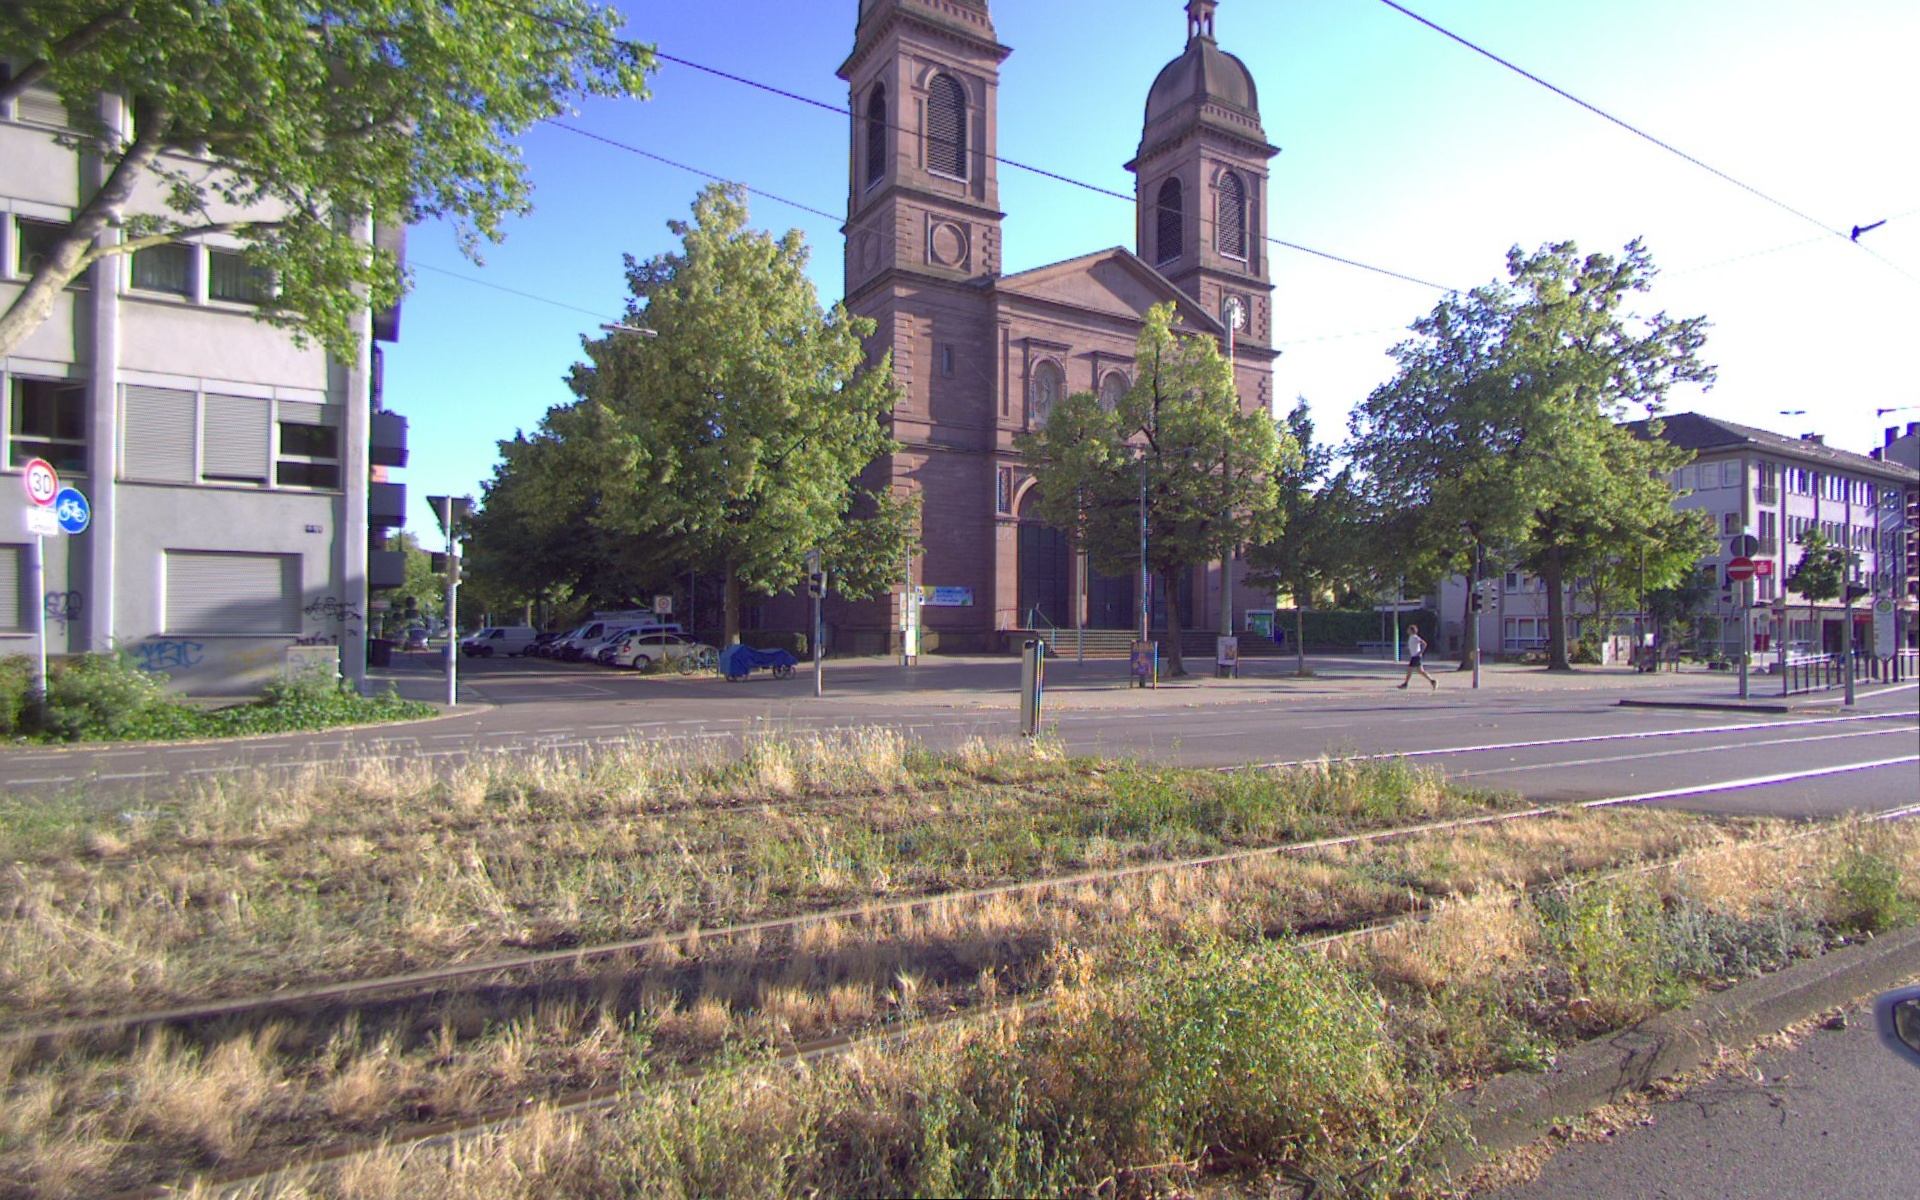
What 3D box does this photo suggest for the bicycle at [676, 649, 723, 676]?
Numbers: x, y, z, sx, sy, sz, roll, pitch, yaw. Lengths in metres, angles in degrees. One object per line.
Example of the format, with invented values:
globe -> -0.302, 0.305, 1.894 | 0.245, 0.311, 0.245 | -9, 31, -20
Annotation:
bicycle -> -9.068, 2.165, 34.967 | 1.517, 0.904, 0.465 | 2, 0, -27

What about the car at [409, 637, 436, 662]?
car -> -45.779, 4.202, 85.473 | 1.976, 2.040, 3.970 | 1, -2, -29

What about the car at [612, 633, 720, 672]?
car -> -12.233, 2.180, 41.826 | 3.953, 1.479, 1.984 | 2, 0, -30

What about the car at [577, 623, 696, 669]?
car -> -15.529, 2.179, 48.320 | 5.121, 2.040, 1.981 | 2, 0, -34

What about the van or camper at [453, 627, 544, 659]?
van or camper -> -29.979, 2.773, 65.413 | 1.965, 2.040, 5.124 | 0, -2, 31

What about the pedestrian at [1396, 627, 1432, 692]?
pedestrian -> 12.833, 1.665, 28.413 | 0.680, 1.794, 0.675 | 1, -2, -36

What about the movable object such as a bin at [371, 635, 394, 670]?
movable object such as a bin -> -22.309, 2.031, 38.810 | 0.737, 1.323, 0.865 | 1, -2, -32

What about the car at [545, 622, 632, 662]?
car -> -20.431, 2.306, 55.271 | 4.174, 2.040, 1.981 | 2, 0, -34

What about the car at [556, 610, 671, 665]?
car -> -18.302, 1.963, 53.113 | 5.382, 2.710, 1.980 | 2, 0, -36

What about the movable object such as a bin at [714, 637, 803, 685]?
movable object such as a bin -> -6.159, 1.834, 30.717 | 2.416, 1.228, 1.102 | -3, 2, -30
